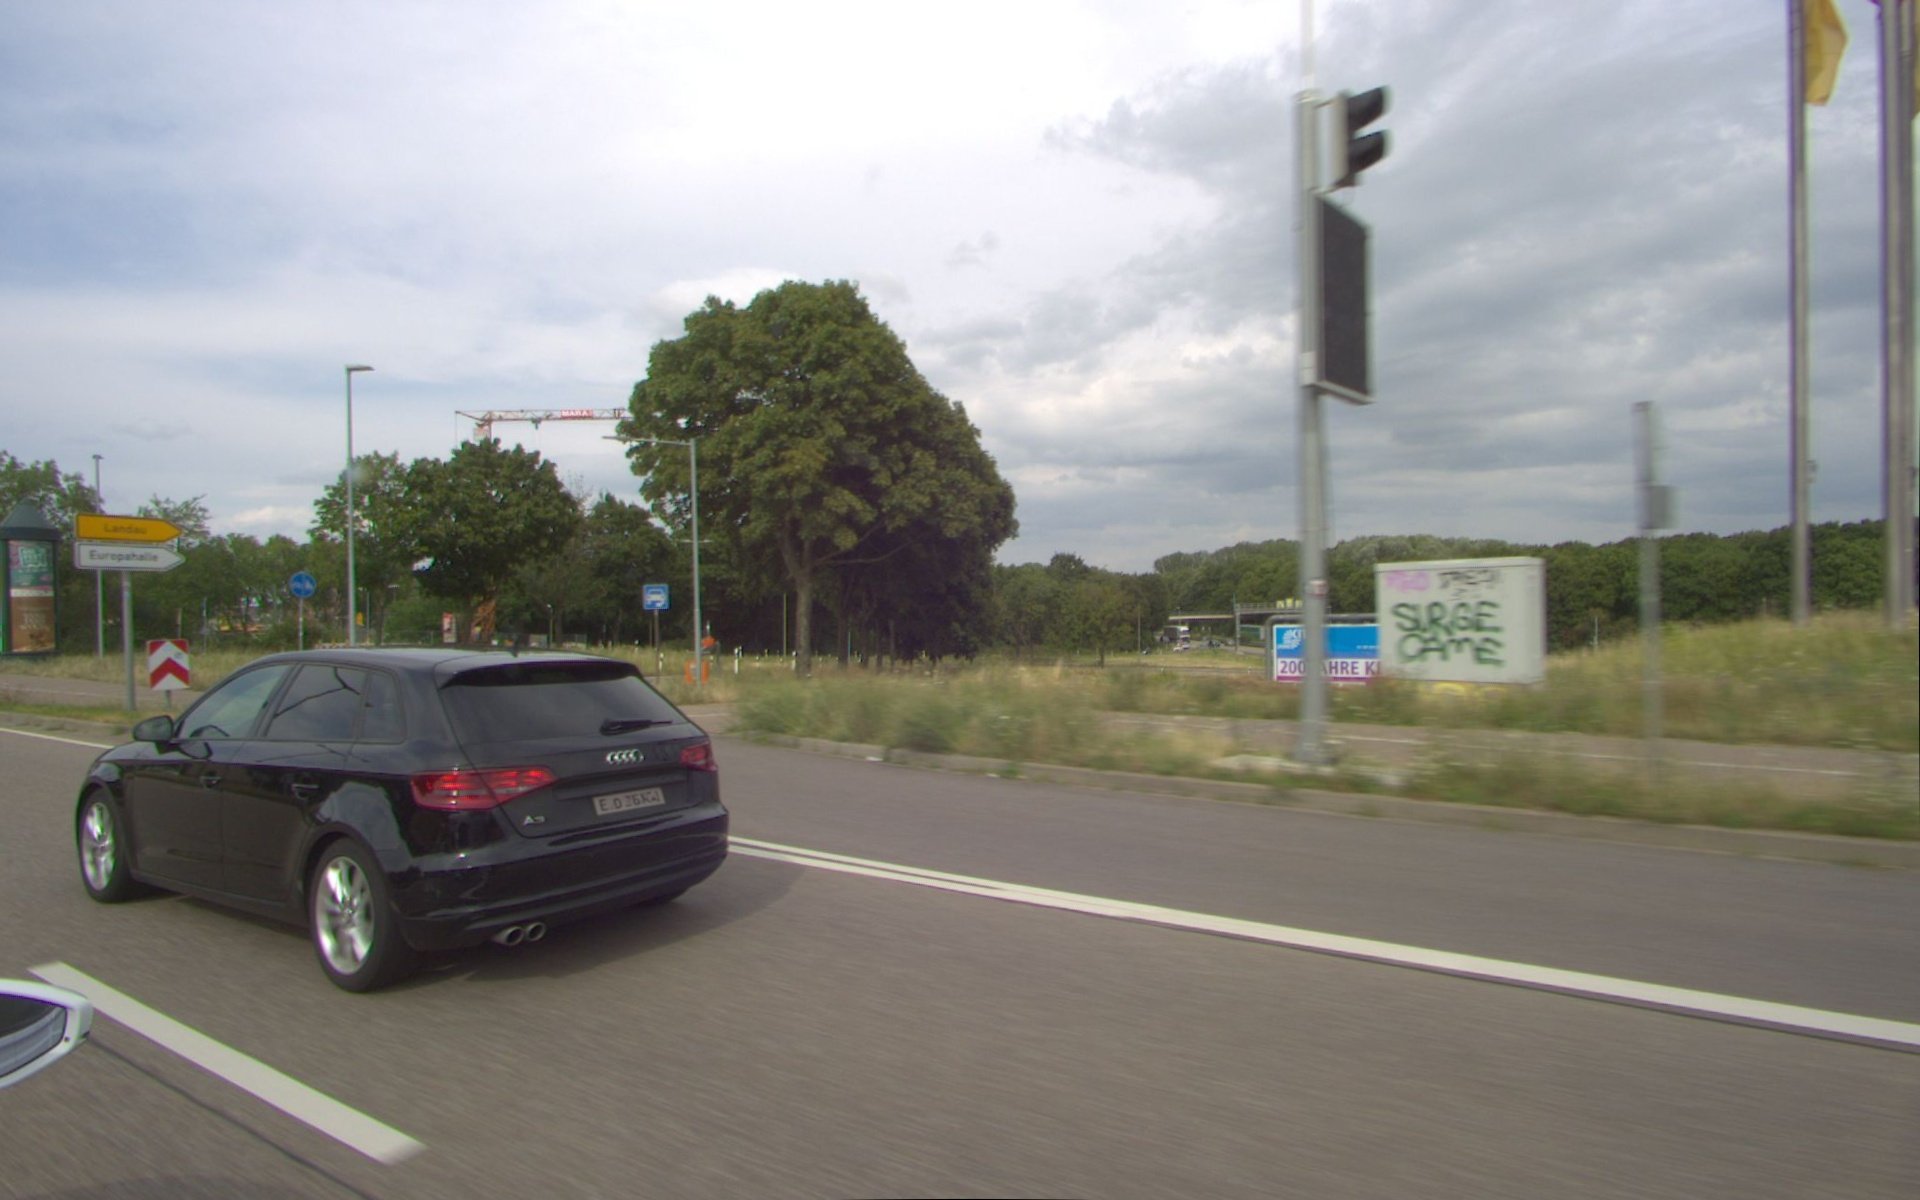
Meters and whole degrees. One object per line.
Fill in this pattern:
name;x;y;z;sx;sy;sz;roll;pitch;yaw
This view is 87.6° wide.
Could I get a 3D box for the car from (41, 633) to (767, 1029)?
car;-3.160;0.906;5.481;4.055;1.413;1.728;-1;-1;32
